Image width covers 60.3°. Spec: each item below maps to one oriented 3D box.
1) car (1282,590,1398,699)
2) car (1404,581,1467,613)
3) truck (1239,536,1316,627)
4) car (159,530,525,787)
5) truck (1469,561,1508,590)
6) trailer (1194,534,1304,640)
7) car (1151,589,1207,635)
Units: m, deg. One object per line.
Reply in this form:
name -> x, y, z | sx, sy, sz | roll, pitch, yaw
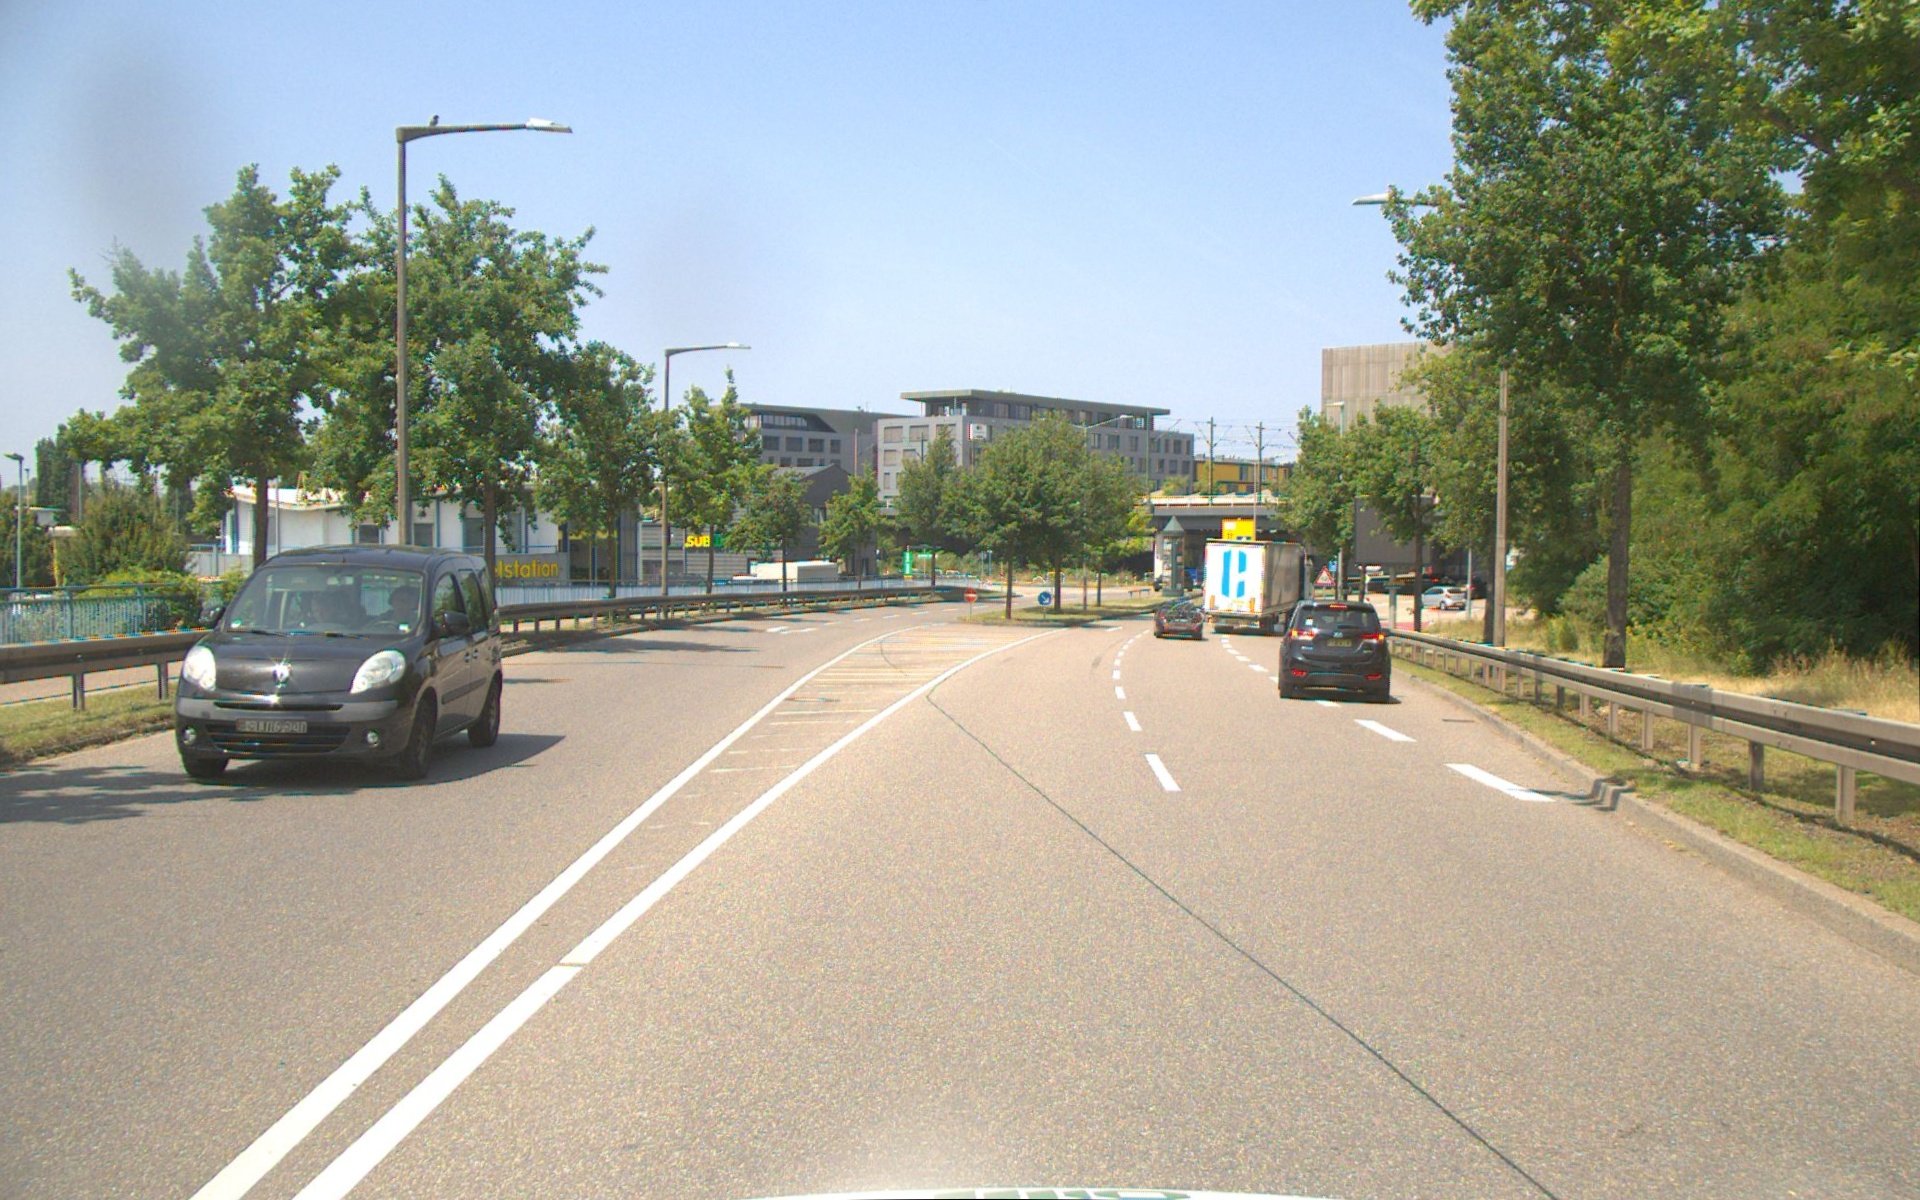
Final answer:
car -> 6.338, 0.678, 27.796 | 1.729, 1.627, 4.081 | 2, 1, 12
car -> 31.434, -0.192, 109.402 | 3.902, 2.049, 2.001 | 1, 0, 15
truck -> 16.240, -1.033, 84.375 | 3.012, 4.444, 6.082 | 1, 2, 19
car -> -4.939, 0.406, 13.869 | 1.772, 1.790, 4.247 | 1, 0, -5
truck -> 47.980, -2.229, 150.152 | 2.036, 2.582, 3.978 | 1, 1, 41
trailer -> 13.654, -0.790, 76.796 | 3.013, 4.444, 14.784 | 1, 2, 18
car -> 8.281, 0.422, 62.313 | 1.915, 1.662, 4.284 | 0, 0, 10
